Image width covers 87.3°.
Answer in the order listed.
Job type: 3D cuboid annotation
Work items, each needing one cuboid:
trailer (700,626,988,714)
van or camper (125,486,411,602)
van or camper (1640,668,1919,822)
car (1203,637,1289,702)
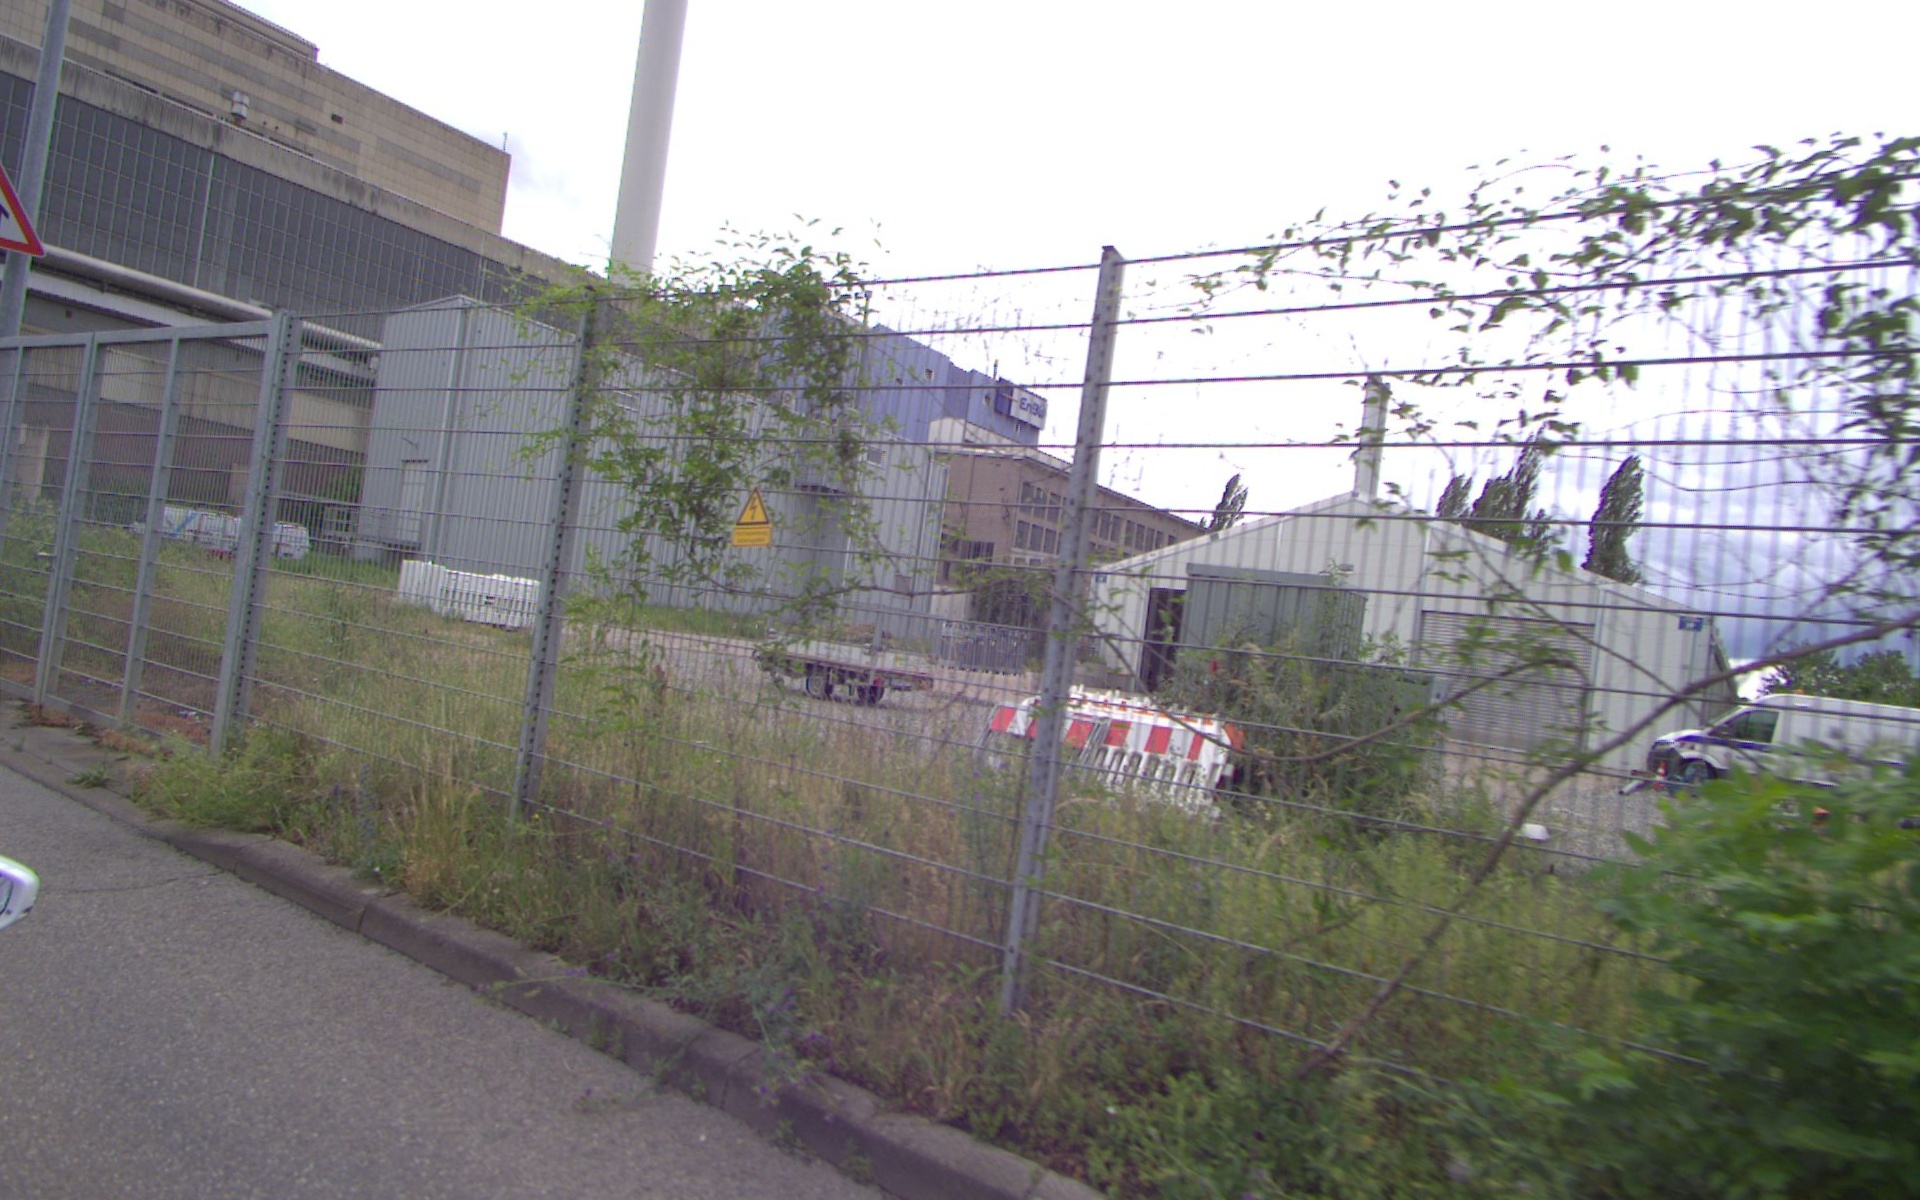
[{"bbox_3d":[-2.069,1.185,17.299,4.620,0.825,2.298,6,-2,38],"label":"trailer"},{"bbox_3d":[-37.635,-2.812,55.687,5.383,4.583,11.855,5,-2,19],"label":"van or camper"},{"bbox_3d":[19.244,3.257,22.714,6.039,2.578,2.566,6,-1,40],"label":"van or camper"},{"bbox_3d":[12.371,3.042,43.363,1.969,2.403,4.328,6,-2,36],"label":"car"}]
